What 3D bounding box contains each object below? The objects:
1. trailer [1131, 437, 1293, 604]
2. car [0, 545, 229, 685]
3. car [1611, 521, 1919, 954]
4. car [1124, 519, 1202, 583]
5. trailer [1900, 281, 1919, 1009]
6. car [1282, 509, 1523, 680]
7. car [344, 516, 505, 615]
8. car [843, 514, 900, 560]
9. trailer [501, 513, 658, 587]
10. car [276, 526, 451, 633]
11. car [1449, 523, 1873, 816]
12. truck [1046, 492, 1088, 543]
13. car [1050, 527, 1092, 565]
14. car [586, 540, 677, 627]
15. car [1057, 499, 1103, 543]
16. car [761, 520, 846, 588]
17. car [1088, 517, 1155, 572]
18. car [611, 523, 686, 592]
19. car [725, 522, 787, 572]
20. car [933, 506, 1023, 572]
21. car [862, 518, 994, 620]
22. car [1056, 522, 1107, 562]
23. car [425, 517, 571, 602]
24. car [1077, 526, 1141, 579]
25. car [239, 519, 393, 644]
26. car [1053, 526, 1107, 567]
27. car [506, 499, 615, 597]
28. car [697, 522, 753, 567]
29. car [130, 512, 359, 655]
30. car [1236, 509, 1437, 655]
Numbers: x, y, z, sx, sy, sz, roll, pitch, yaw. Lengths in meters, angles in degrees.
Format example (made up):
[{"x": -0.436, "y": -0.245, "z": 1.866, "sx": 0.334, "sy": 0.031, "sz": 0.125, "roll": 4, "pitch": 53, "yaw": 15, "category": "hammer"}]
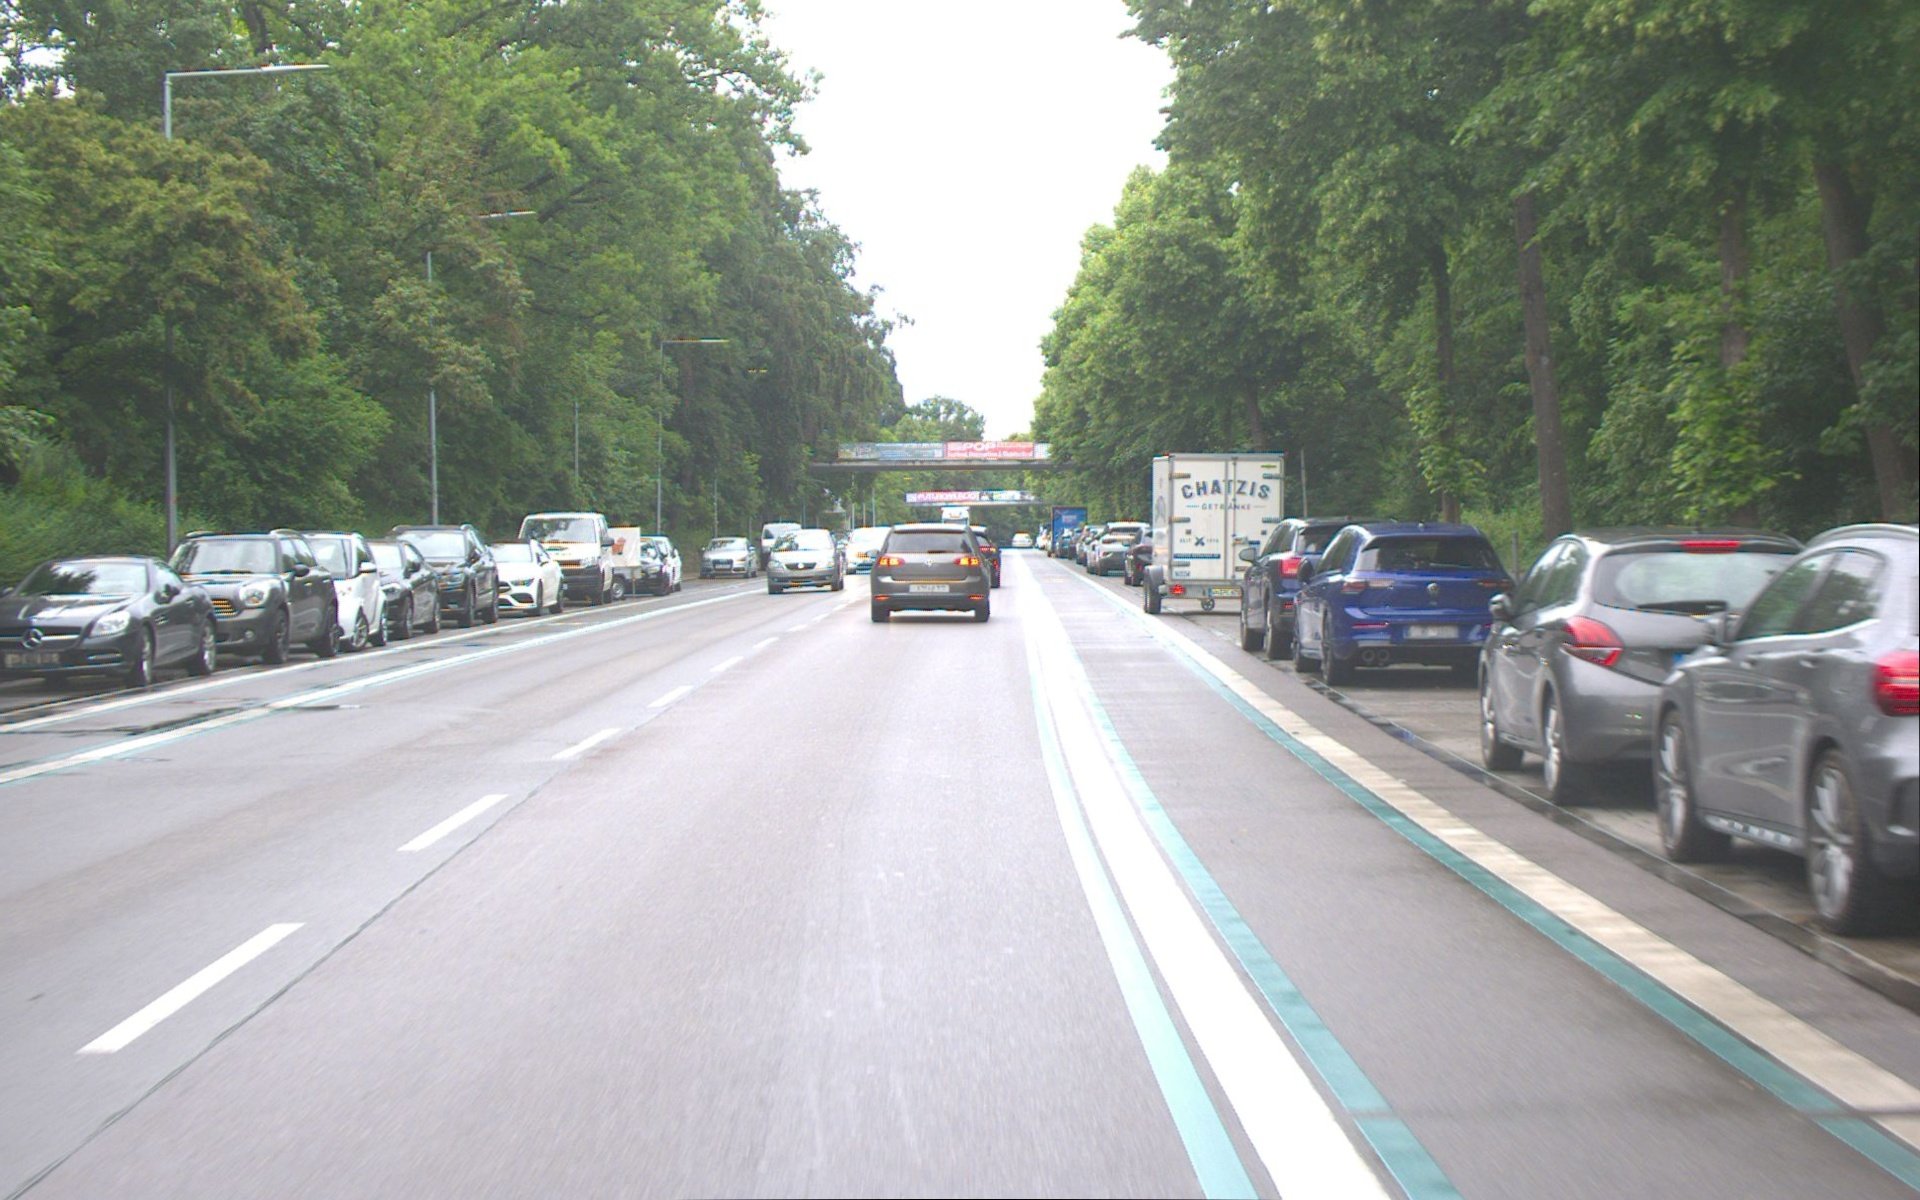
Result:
[{"x": 3.984, "y": -1.276, "z": 54.964, "sx": 2.132, "sy": 2.551, "sz": 4.298, "roll": 0, "pitch": 1, "yaw": -2, "category": "trailer"}, {"x": -8.803, "y": 0.113, "z": 35.001, "sx": 1.696, "sy": 1.296, "sz": 4.192, "roll": 0, "pitch": 1, "yaw": 2, "category": "car"}, {"x": 3.953, "y": 0.411, "z": 13.808, "sx": 1.795, "sy": 1.445, "sz": 4.429, "roll": -1, "pitch": 1, "yaw": 0, "category": "car"}, {"x": 4.925, "y": -1.214, "z": 83.732, "sx": 1.722, "sy": 1.520, "sz": 4.000, "roll": 0, "pitch": 1, "yaw": 1, "category": "car"}, {"x": 3.920, "y": 0.191, "z": 8.412, "sx": 1.906, "sy": 2.240, "sz": 4.768, "roll": 0, "pitch": 1, "yaw": 0, "category": "trailer"}, {"x": 4.057, "y": -0.103, "z": 32.110, "sx": 1.682, "sy": 1.476, "sz": 4.319, "roll": 0, "pitch": 2, "yaw": 0, "category": "car"}, {"x": -8.734, "y": -0.596, "z": 56.419, "sx": 1.879, "sy": 1.556, "sz": 4.468, "roll": 0, "pitch": 1, "yaw": 1, "category": "car"}, {"x": -2.999, "y": -2.149, "z": 116.754, "sx": 1.835, "sy": 1.512, "sz": 4.000, "roll": -1, "pitch": 1, "yaw": 0, "category": "car"}, {"x": -8.623, "y": -1.147, "z": 78.235, "sx": 1.628, "sy": 1.623, "sz": 3.666, "roll": 0, "pitch": 2, "yaw": 32, "category": "trailer"}, {"x": -8.665, "y": -0.333, "z": 50.299, "sx": 1.808, "sy": 1.483, "sz": 4.469, "roll": 0, "pitch": 1, "yaw": 0, "category": "car"}, {"x": 3.836, "y": 0.308, "z": 19.430, "sx": 1.615, "sy": 1.465, "sz": 4.000, "roll": 1, "pitch": 1, "yaw": 1, "category": "car"}, {"x": 5.537, "y": -4.293, "z": 178.165, "sx": 2.113, "sy": 2.590, "sz": 4.301, "roll": -1, "pitch": 1, "yaw": 1, "category": "truck"}, {"x": 5.502, "y": -2.667, "z": 170.596, "sx": 1.993, "sy": 1.766, "sz": 4.000, "roll": -2, "pitch": 1, "yaw": 1, "category": "car"}, {"x": -7.979, "y": -0.437, "z": 83.901, "sx": 1.939, "sy": 2.007, "sz": 4.741, "roll": 0, "pitch": 1, "yaw": -2, "category": "car"}, {"x": 5.695, "y": -3.736, "z": 163.055, "sx": 1.993, "sy": 2.007, "sz": 4.000, "roll": 0, "pitch": 1, "yaw": 0, "category": "car"}, {"x": -3.582, "y": -1.084, "z": 79.234, "sx": 1.698, "sy": 1.479, "sz": 4.035, "roll": -2, "pitch": 1, "yaw": 1, "category": "car"}, {"x": 4.841, "y": -1.684, "z": 103.444, "sx": 1.897, "sy": 1.601, "sz": 4.000, "roll": 0, "pitch": 1, "yaw": 1, "category": "car"}, {"x": -8.139, "y": -1.131, "z": 90.107, "sx": 1.576, "sy": 1.764, "sz": 3.415, "roll": -1, "pitch": 1, "yaw": 1, "category": "car"}, {"x": -8.449, "y": -2.226, "z": 142.793, "sx": 2.159, "sy": 2.007, "sz": 5.031, "roll": -1, "pitch": 1, "yaw": 2, "category": "car"}, {"x": 0.397, "y": -1.451, "z": 81.222, "sx": 1.880, "sy": 1.461, "sz": 4.001, "roll": 1, "pitch": 1, "yaw": -3, "category": "car"}, {"x": -0.511, "y": -0.448, "z": 51.552, "sx": 1.871, "sy": 1.436, "sz": 4.296, "roll": 1, "pitch": 0, "yaw": -2, "category": "car"}, {"x": 4.888, "y": -2.356, "z": 138.752, "sx": 1.993, "sy": 1.557, "sz": 4.000, "roll": 0, "pitch": 1, "yaw": 1, "category": "car"}, {"x": -8.403, "y": -0.766, "z": 62.907, "sx": 1.993, "sy": 1.483, "sz": 4.468, "roll": 0, "pitch": 1, "yaw": 1, "category": "car"}, {"x": 4.667, "y": -1.516, "z": 108.068, "sx": 1.897, "sy": 1.601, "sz": 4.000, "roll": 0, "pitch": 1, "yaw": 1, "category": "car"}, {"x": -8.384, "y": -0.274, "z": 44.945, "sx": 1.461, "sy": 1.566, "sz": 2.984, "roll": -1, "pitch": 1, "yaw": -1, "category": "car"}, {"x": 4.659, "y": -2.093, "z": 133.966, "sx": 1.993, "sy": 1.557, "sz": 4.000, "roll": 0, "pitch": 1, "yaw": 1, "category": "car"}, {"x": -8.479, "y": -1.129, "z": 73.283, "sx": 1.939, "sy": 2.007, "sz": 4.741, "roll": 0, "pitch": 1, "yaw": -2, "category": "car"}, {"x": -8.076, "y": -1.931, "z": 118.272, "sx": 1.672, "sy": 1.508, "sz": 3.630, "roll": 0, "pitch": 2, "yaw": 0, "category": "car"}, {"x": -8.354, "y": -0.231, "z": 40.454, "sx": 1.696, "sy": 1.578, "sz": 4.139, "roll": 0, "pitch": 1, "yaw": 2, "category": "car"}, {"x": 4.056, "y": -0.237, "z": 37.543, "sx": 1.713, "sy": 1.507, "sz": 3.976, "roll": 0, "pitch": 1, "yaw": -1, "category": "car"}]
